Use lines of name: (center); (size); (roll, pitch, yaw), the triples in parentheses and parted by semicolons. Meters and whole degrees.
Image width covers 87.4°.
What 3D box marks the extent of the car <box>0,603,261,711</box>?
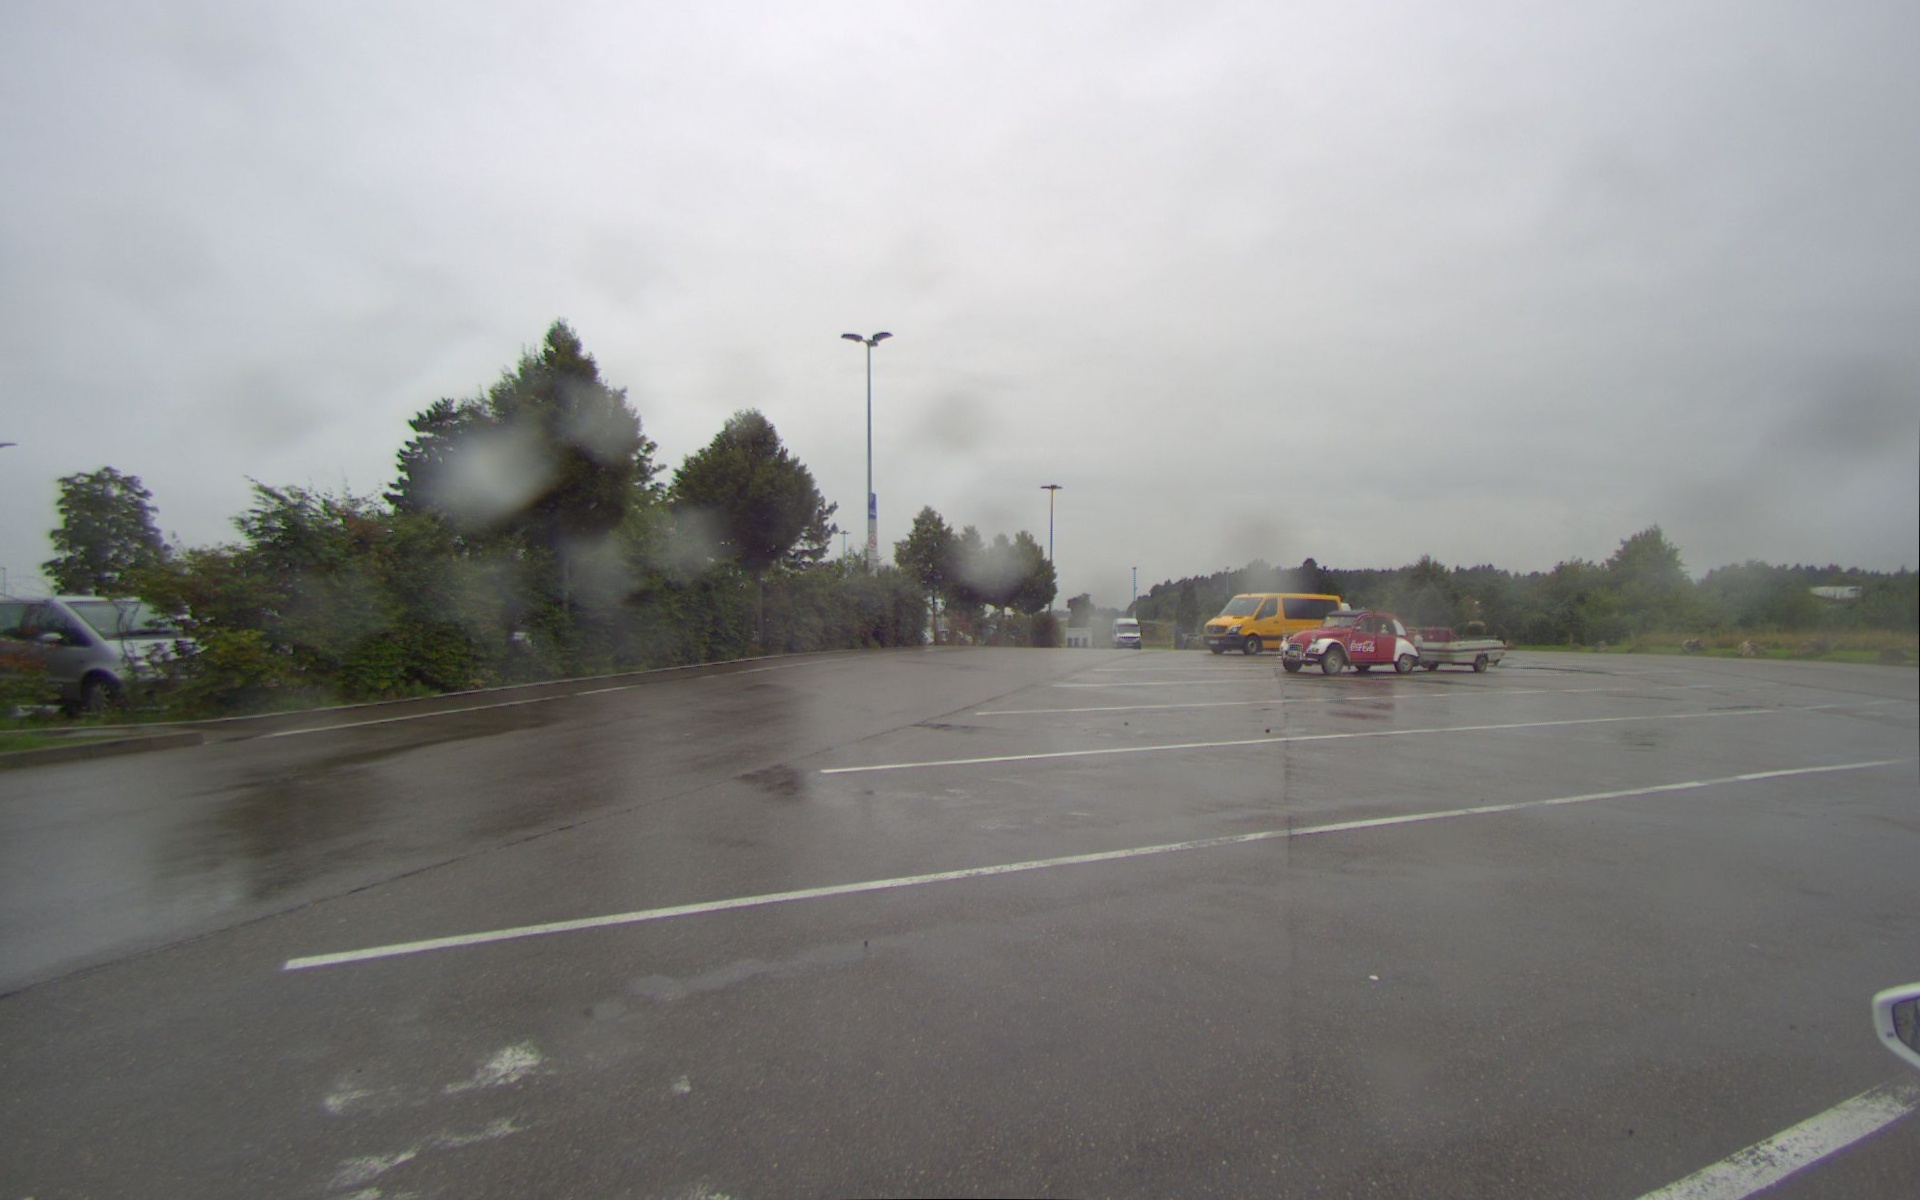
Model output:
car: (-11.794, 0.710, 13.854); (3.576, 1.286, 1.808); (1, 0, 20)

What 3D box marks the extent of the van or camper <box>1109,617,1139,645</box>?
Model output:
van or camper: (13.213, 2.523, 81.000); (1.960, 2.195, 4.002); (1, -2, 4)

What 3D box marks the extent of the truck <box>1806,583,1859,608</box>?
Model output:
truck: (124.408, -0.551, 143.328); (2.693, 3.436, 8.068); (1, 0, 18)

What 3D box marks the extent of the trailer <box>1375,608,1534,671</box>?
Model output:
trailer: (12.908, 1.004, 26.209); (3.947, 1.553, 1.689); (1, -1, -27)

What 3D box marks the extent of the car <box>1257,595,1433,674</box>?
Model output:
car: (9.373, 0.841, 24.446); (3.947, 1.800, 1.816); (1, -2, -26)

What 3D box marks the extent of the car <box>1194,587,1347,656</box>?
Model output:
car: (11.762, 0.880, 37.922); (5.954, 2.411, 1.985); (2, -3, -30)

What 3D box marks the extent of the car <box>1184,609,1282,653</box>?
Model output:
car: (14.785, 1.665, 54.458); (4.690, 2.231, 1.995); (1, 0, -13)
